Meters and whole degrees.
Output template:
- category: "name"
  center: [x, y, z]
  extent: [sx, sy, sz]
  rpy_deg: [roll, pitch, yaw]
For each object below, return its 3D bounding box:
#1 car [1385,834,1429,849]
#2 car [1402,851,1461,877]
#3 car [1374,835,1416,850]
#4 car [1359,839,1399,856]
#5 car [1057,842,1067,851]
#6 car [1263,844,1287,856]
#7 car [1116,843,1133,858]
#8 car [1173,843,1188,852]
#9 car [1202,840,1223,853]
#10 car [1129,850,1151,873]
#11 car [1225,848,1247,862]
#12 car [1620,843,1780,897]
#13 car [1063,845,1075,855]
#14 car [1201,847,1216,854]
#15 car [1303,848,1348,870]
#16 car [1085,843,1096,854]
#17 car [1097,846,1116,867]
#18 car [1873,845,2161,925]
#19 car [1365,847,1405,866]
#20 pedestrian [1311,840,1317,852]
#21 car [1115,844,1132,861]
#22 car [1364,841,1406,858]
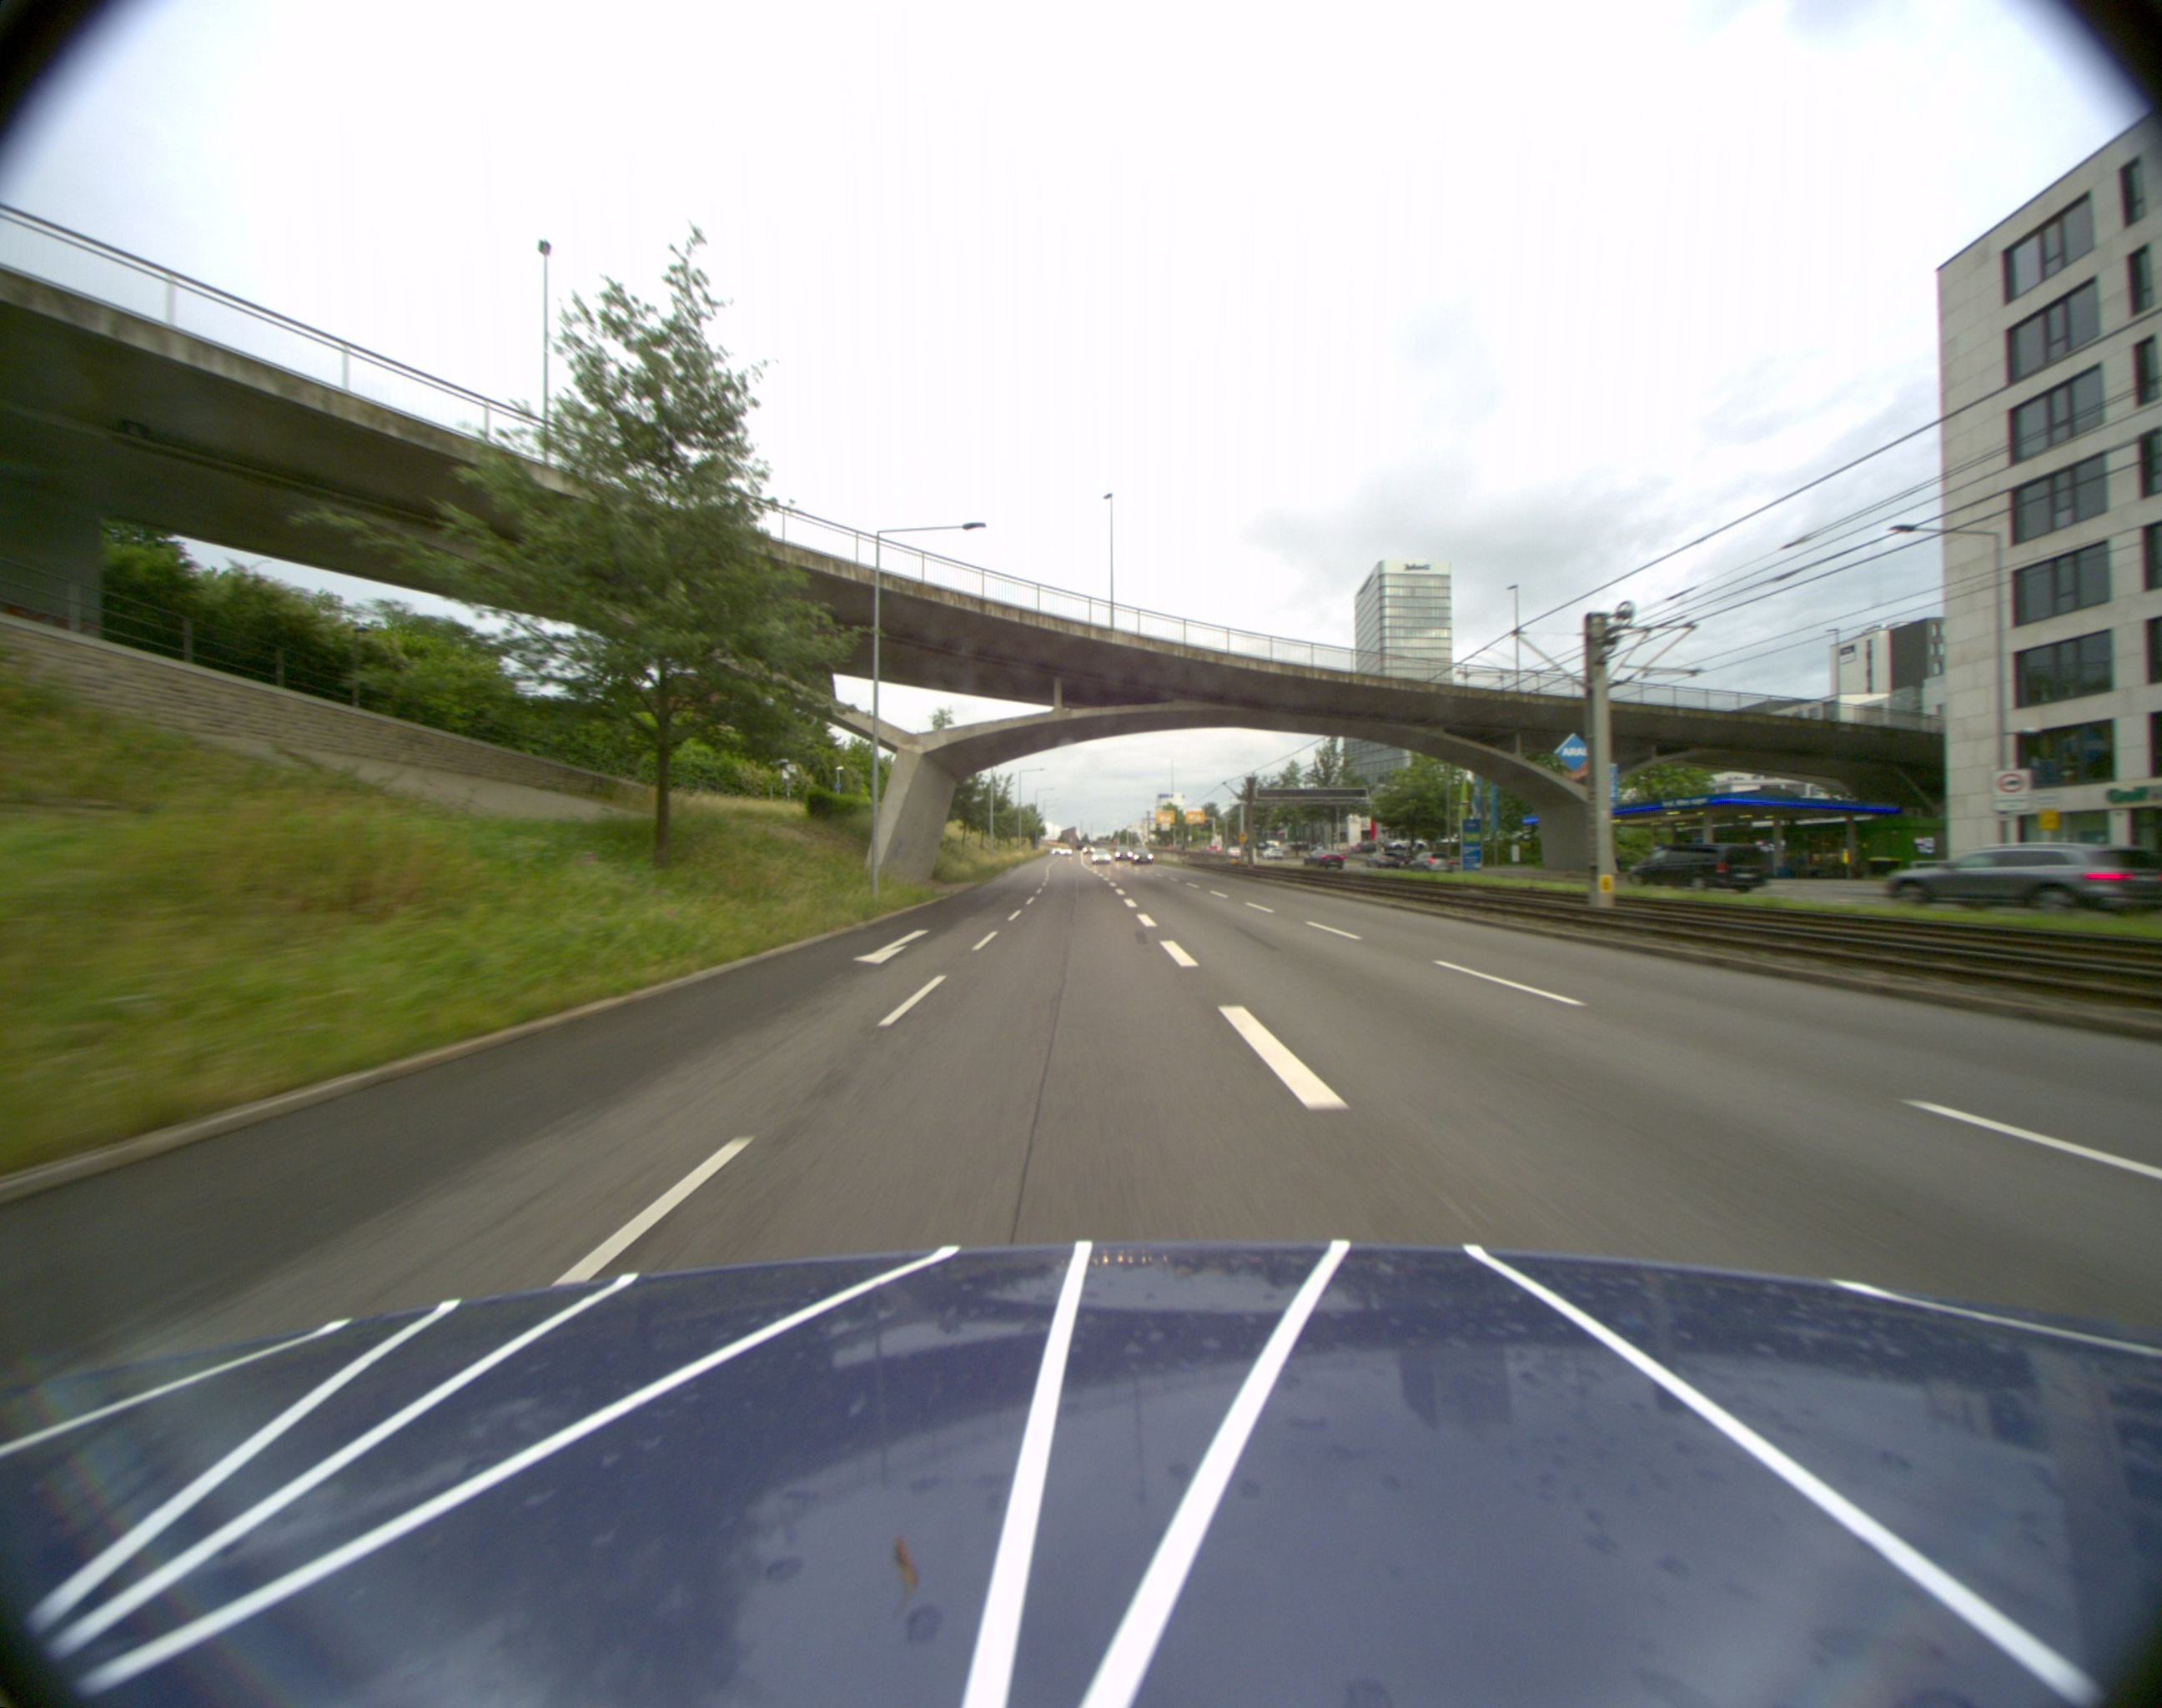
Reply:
- category: "car"
  center: [38.407, -1.485, 89.685]
  extent: [4.363, 1.495, 1.885]
  rpy_deg: [-2, 2, 4]
- category: "car"
  center: [22.322, 0.597, 48.575]
  extent: [1.814, 1.524, 4.275]
  rpy_deg: [-2, 0, 1]
- category: "car"
  center: [37.948, -1.397, 91.905]
  extent: [4.196, 1.762, 1.885]
  rpy_deg: [-2, 2, 4]
- category: "car"
  center: [38.007, -0.818, 96.971]
  extent: [4.363, 1.936, 1.885]
  rpy_deg: [-2, 2, 4]
- category: "car"
  center: [-3.832, -1.468, 152.902]
  extent: [1.794, 1.622, 4.376]
  rpy_deg: [-2, 2, 2]
- category: "car"
  center: [25.021, -0.495, 98.071]
  extent: [1.925, 1.488, 4.657]
  rpy_deg: [2, 0, 2]
- category: "car"
  center: [4.983, -0.368, 86.939]
  extent: [1.794, 1.536, 4.377]
  rpy_deg: [-2, 2, 2]
- category: "car"
  center: [19.513, -1.276, 149.091]
  extent: [2.052, 1.530, 4.758]
  rpy_deg: [-2, 0, -1]
- category: "car"
  center: [19.016, -1.067, 109.949]
  extent: [1.926, 1.766, 4.223]
  rpy_deg: [3, 0, -4]
- category: "car"
  center: [5.357, 0.685, 69.082]
  extent: [1.794, 1.858, 4.377]
  rpy_deg: [-2, 2, 2]
- category: "car"
  center: [18.943, 0.134, 92.932]
  extent: [1.768, 1.588, 4.792]
  rpy_deg: [-2, 0, 2]
- category: "car"
  center: [24.559, 0.582, 30.455]
  extent: [2.064, 1.940, 5.131]
  rpy_deg: [-2, 0, -2]
- category: "car"
  center: [-2.110, -0.723, 132.015]
  extent: [1.794, 1.622, 4.377]
  rpy_deg: [-2, 2, 2]
- category: "car"
  center: [26.476, -0.741, 158.017]
  extent: [2.053, 1.520, 4.566]
  rpy_deg: [-2, 0, -2]
- category: "car"
  center: [18.690, 0.344, 58.244]
  extent: [1.814, 1.524, 4.868]
  rpy_deg: [-2, 0, -1]
- category: "car"
  center: [1.790, -0.998, 136.325]
  extent: [1.794, 1.858, 4.377]
  rpy_deg: [-2, 2, 2]
- category: "car"
  center: [2.571, 0.235, 75.880]
  extent: [1.794, 1.858, 4.377]
  rpy_deg: [-2, 2, 2]
- category: "car"
  center: [21.823, 0.629, 17.837]
  extent: [1.814, 1.597, 4.491]
  rpy_deg: [-2, 0, 2]
- category: "car"
  center: [26.844, 0.182, 67.250]
  extent: [1.768, 1.588, 4.491]
  rpy_deg: [-2, 0, 2]
- category: "pedestrian"
  center: [33.852, -1.157, 110.533]
  extent: [0.688, 1.786, 0.636]
  rpy_deg: [-2, 2, 1]
- category: "car"
  center: [4.948, -0.191, 88.418]
  extent: [1.794, 1.858, 4.377]
  rpy_deg: [-2, 2, 2]
- category: "car"
  center: [37.904, -0.616, 94.796]
  extent: [4.363, 1.936, 1.885]
  rpy_deg: [-2, 2, 4]
